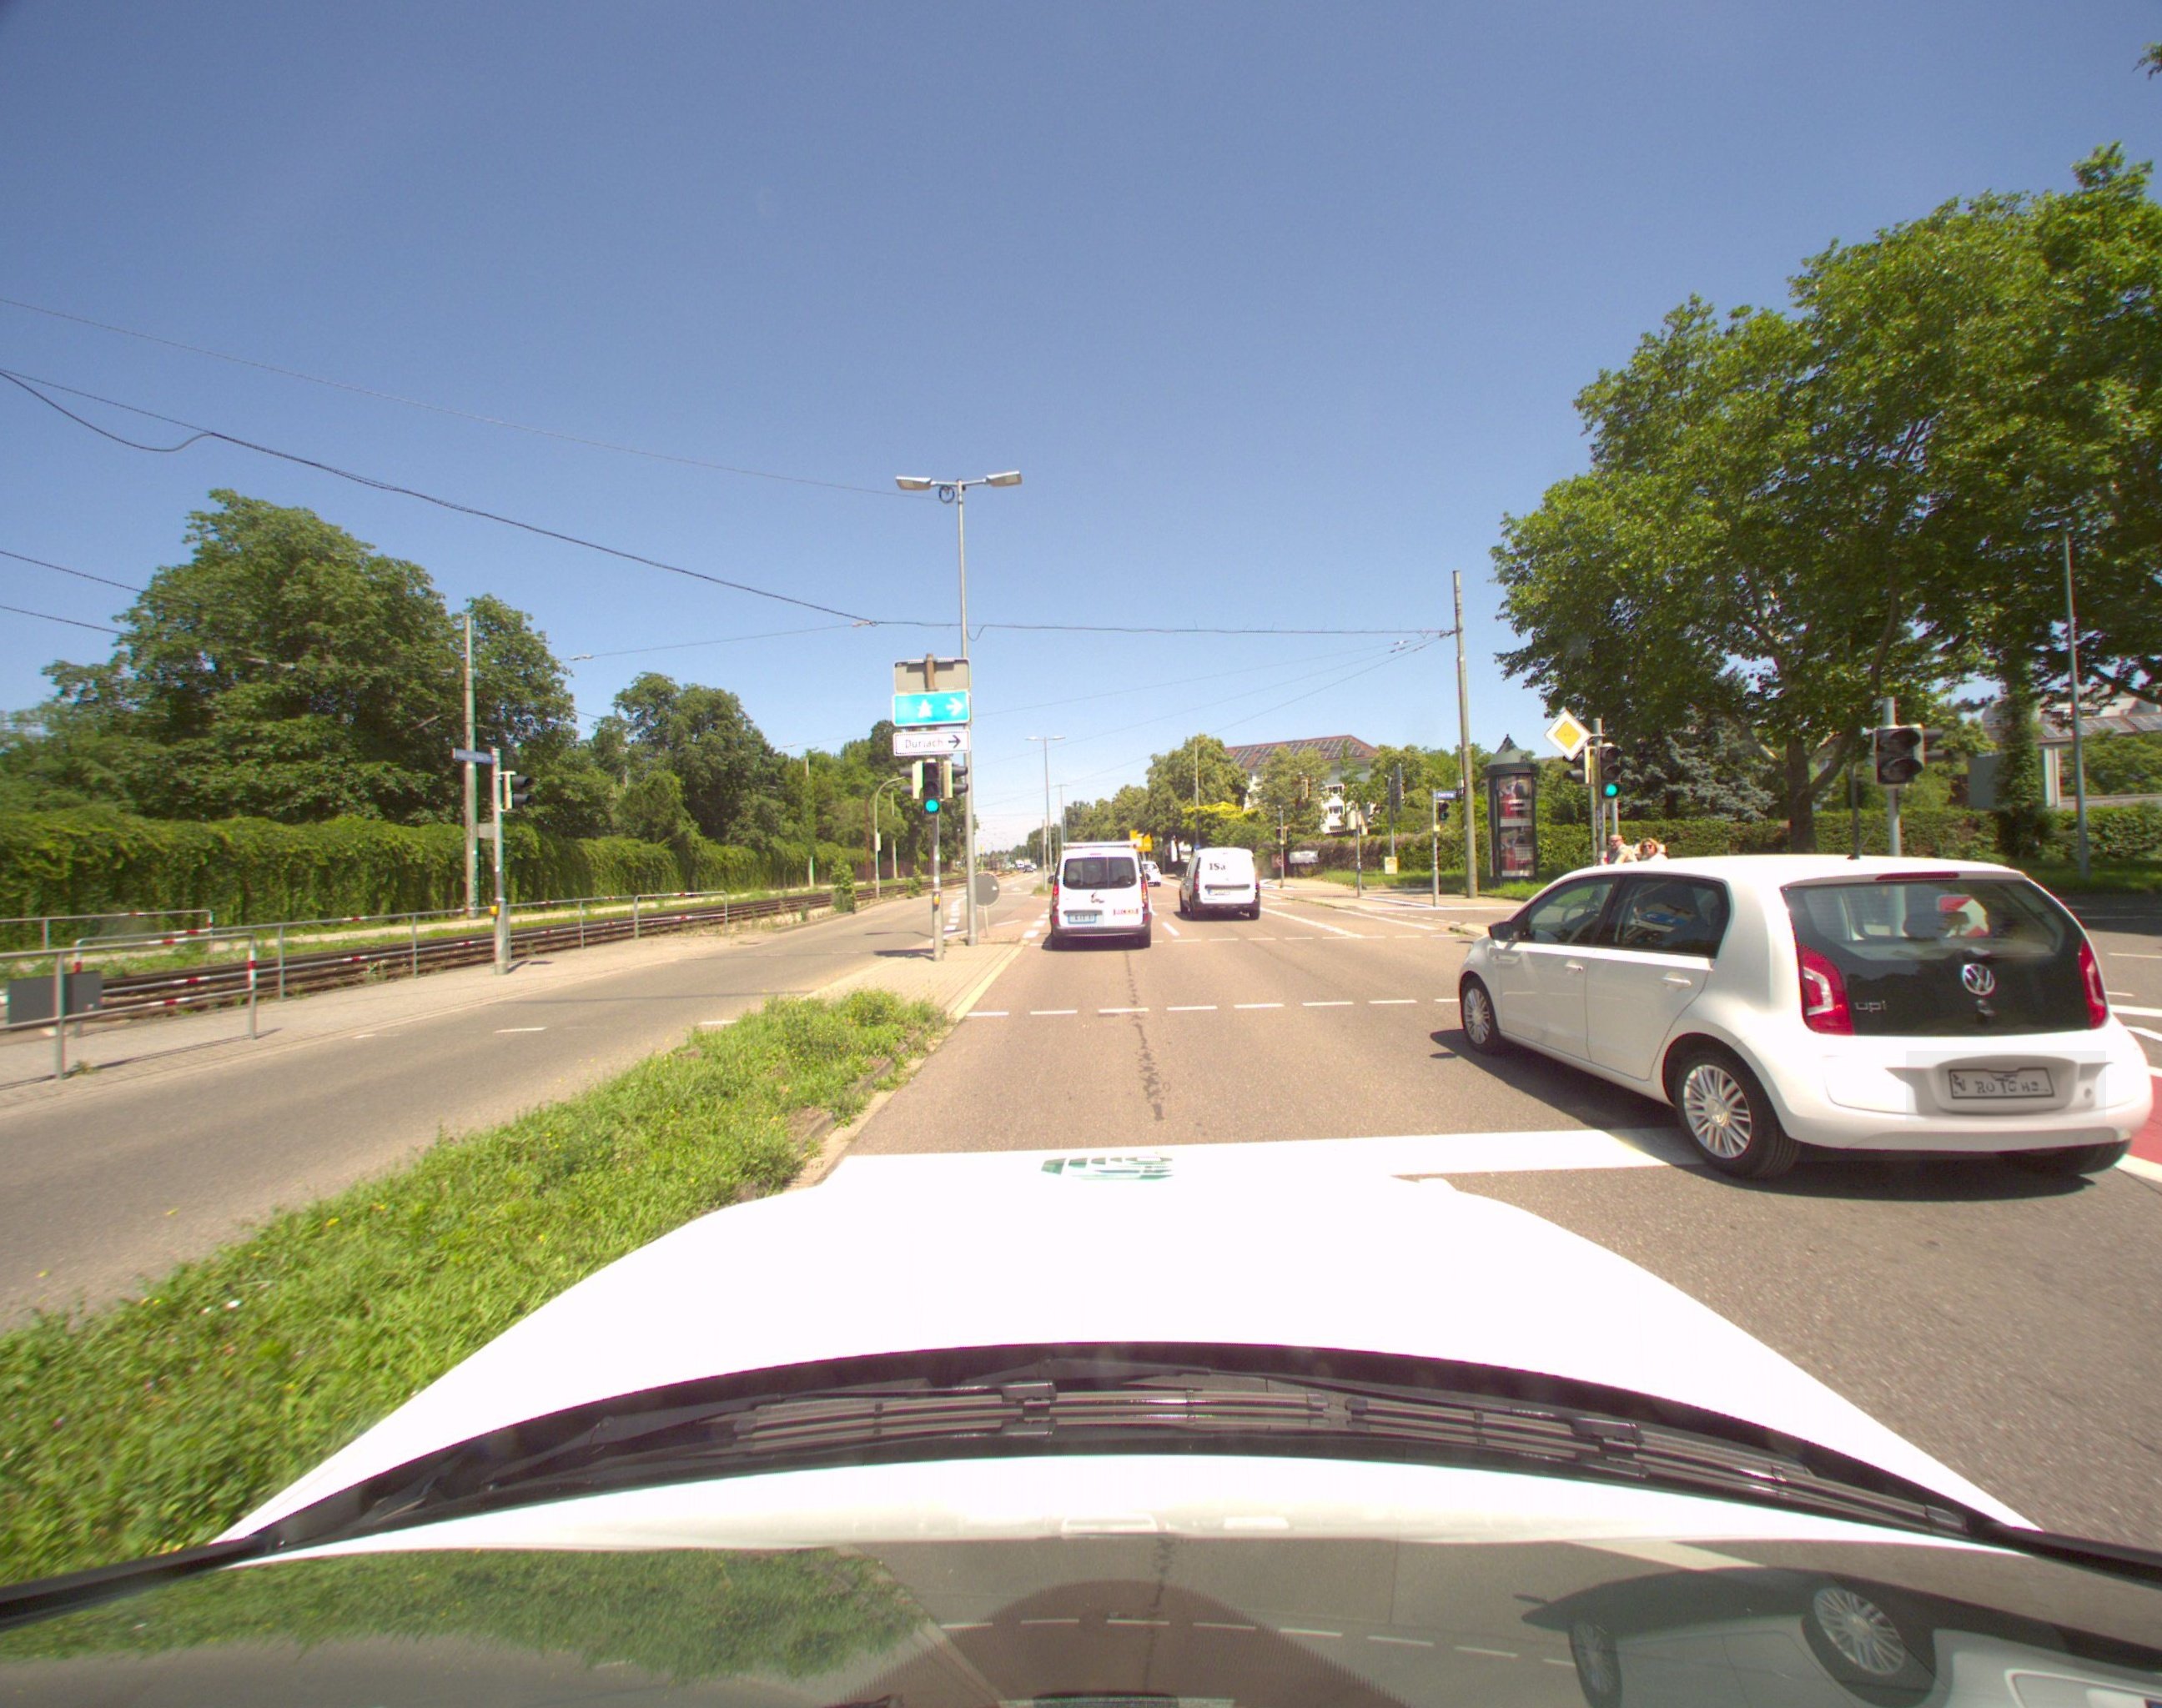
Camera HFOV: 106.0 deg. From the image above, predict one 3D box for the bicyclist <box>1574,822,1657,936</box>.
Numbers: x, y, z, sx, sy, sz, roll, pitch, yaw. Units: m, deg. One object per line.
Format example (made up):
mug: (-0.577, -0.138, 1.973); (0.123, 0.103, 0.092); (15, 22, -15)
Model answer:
bicyclist: (8.810, 0.404, 13.468); (0.721, 1.788, 0.977); (-1, -1, 4)

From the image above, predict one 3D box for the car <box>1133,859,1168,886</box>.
car: (4.247, 1.088, 50.276); (1.828, 1.568, 4.000); (0, 0, 1)

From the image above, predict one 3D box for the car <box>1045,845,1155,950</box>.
car: (0.351, 0.741, 15.779); (1.815, 1.740, 4.396); (-1, -1, 1)

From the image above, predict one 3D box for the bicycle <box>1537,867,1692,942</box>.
bicycle: (8.782, 0.818, 13.483); (1.941, 1.159, 0.896); (-1, -1, 3)

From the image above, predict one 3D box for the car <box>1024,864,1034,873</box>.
car: (-10.024, 2.808, 156.247); (1.692, 1.513, 4.064); (-2, 0, -1)

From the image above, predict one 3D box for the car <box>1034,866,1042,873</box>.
car: (-11.974, 4.212, 224.886); (1.987, 1.816, 3.999); (-2, -1, 0)

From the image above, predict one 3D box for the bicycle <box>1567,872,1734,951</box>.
bicycle: (8.540, 0.856, 12.302); (1.856, 1.125, 0.897); (-1, -1, 8)

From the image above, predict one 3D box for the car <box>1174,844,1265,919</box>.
car: (3.543, 0.692, 21.514); (1.722, 1.788, 4.063); (0, -1, 0)

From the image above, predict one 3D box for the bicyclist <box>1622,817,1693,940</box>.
bicyclist: (8.677, 0.365, 12.282); (0.573, 1.788, 0.769); (0, -1, 9)

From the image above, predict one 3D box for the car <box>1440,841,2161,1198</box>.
car: (3.739, 0.675, 5.027); (1.603, 1.447, 3.436); (0, 0, 1)
